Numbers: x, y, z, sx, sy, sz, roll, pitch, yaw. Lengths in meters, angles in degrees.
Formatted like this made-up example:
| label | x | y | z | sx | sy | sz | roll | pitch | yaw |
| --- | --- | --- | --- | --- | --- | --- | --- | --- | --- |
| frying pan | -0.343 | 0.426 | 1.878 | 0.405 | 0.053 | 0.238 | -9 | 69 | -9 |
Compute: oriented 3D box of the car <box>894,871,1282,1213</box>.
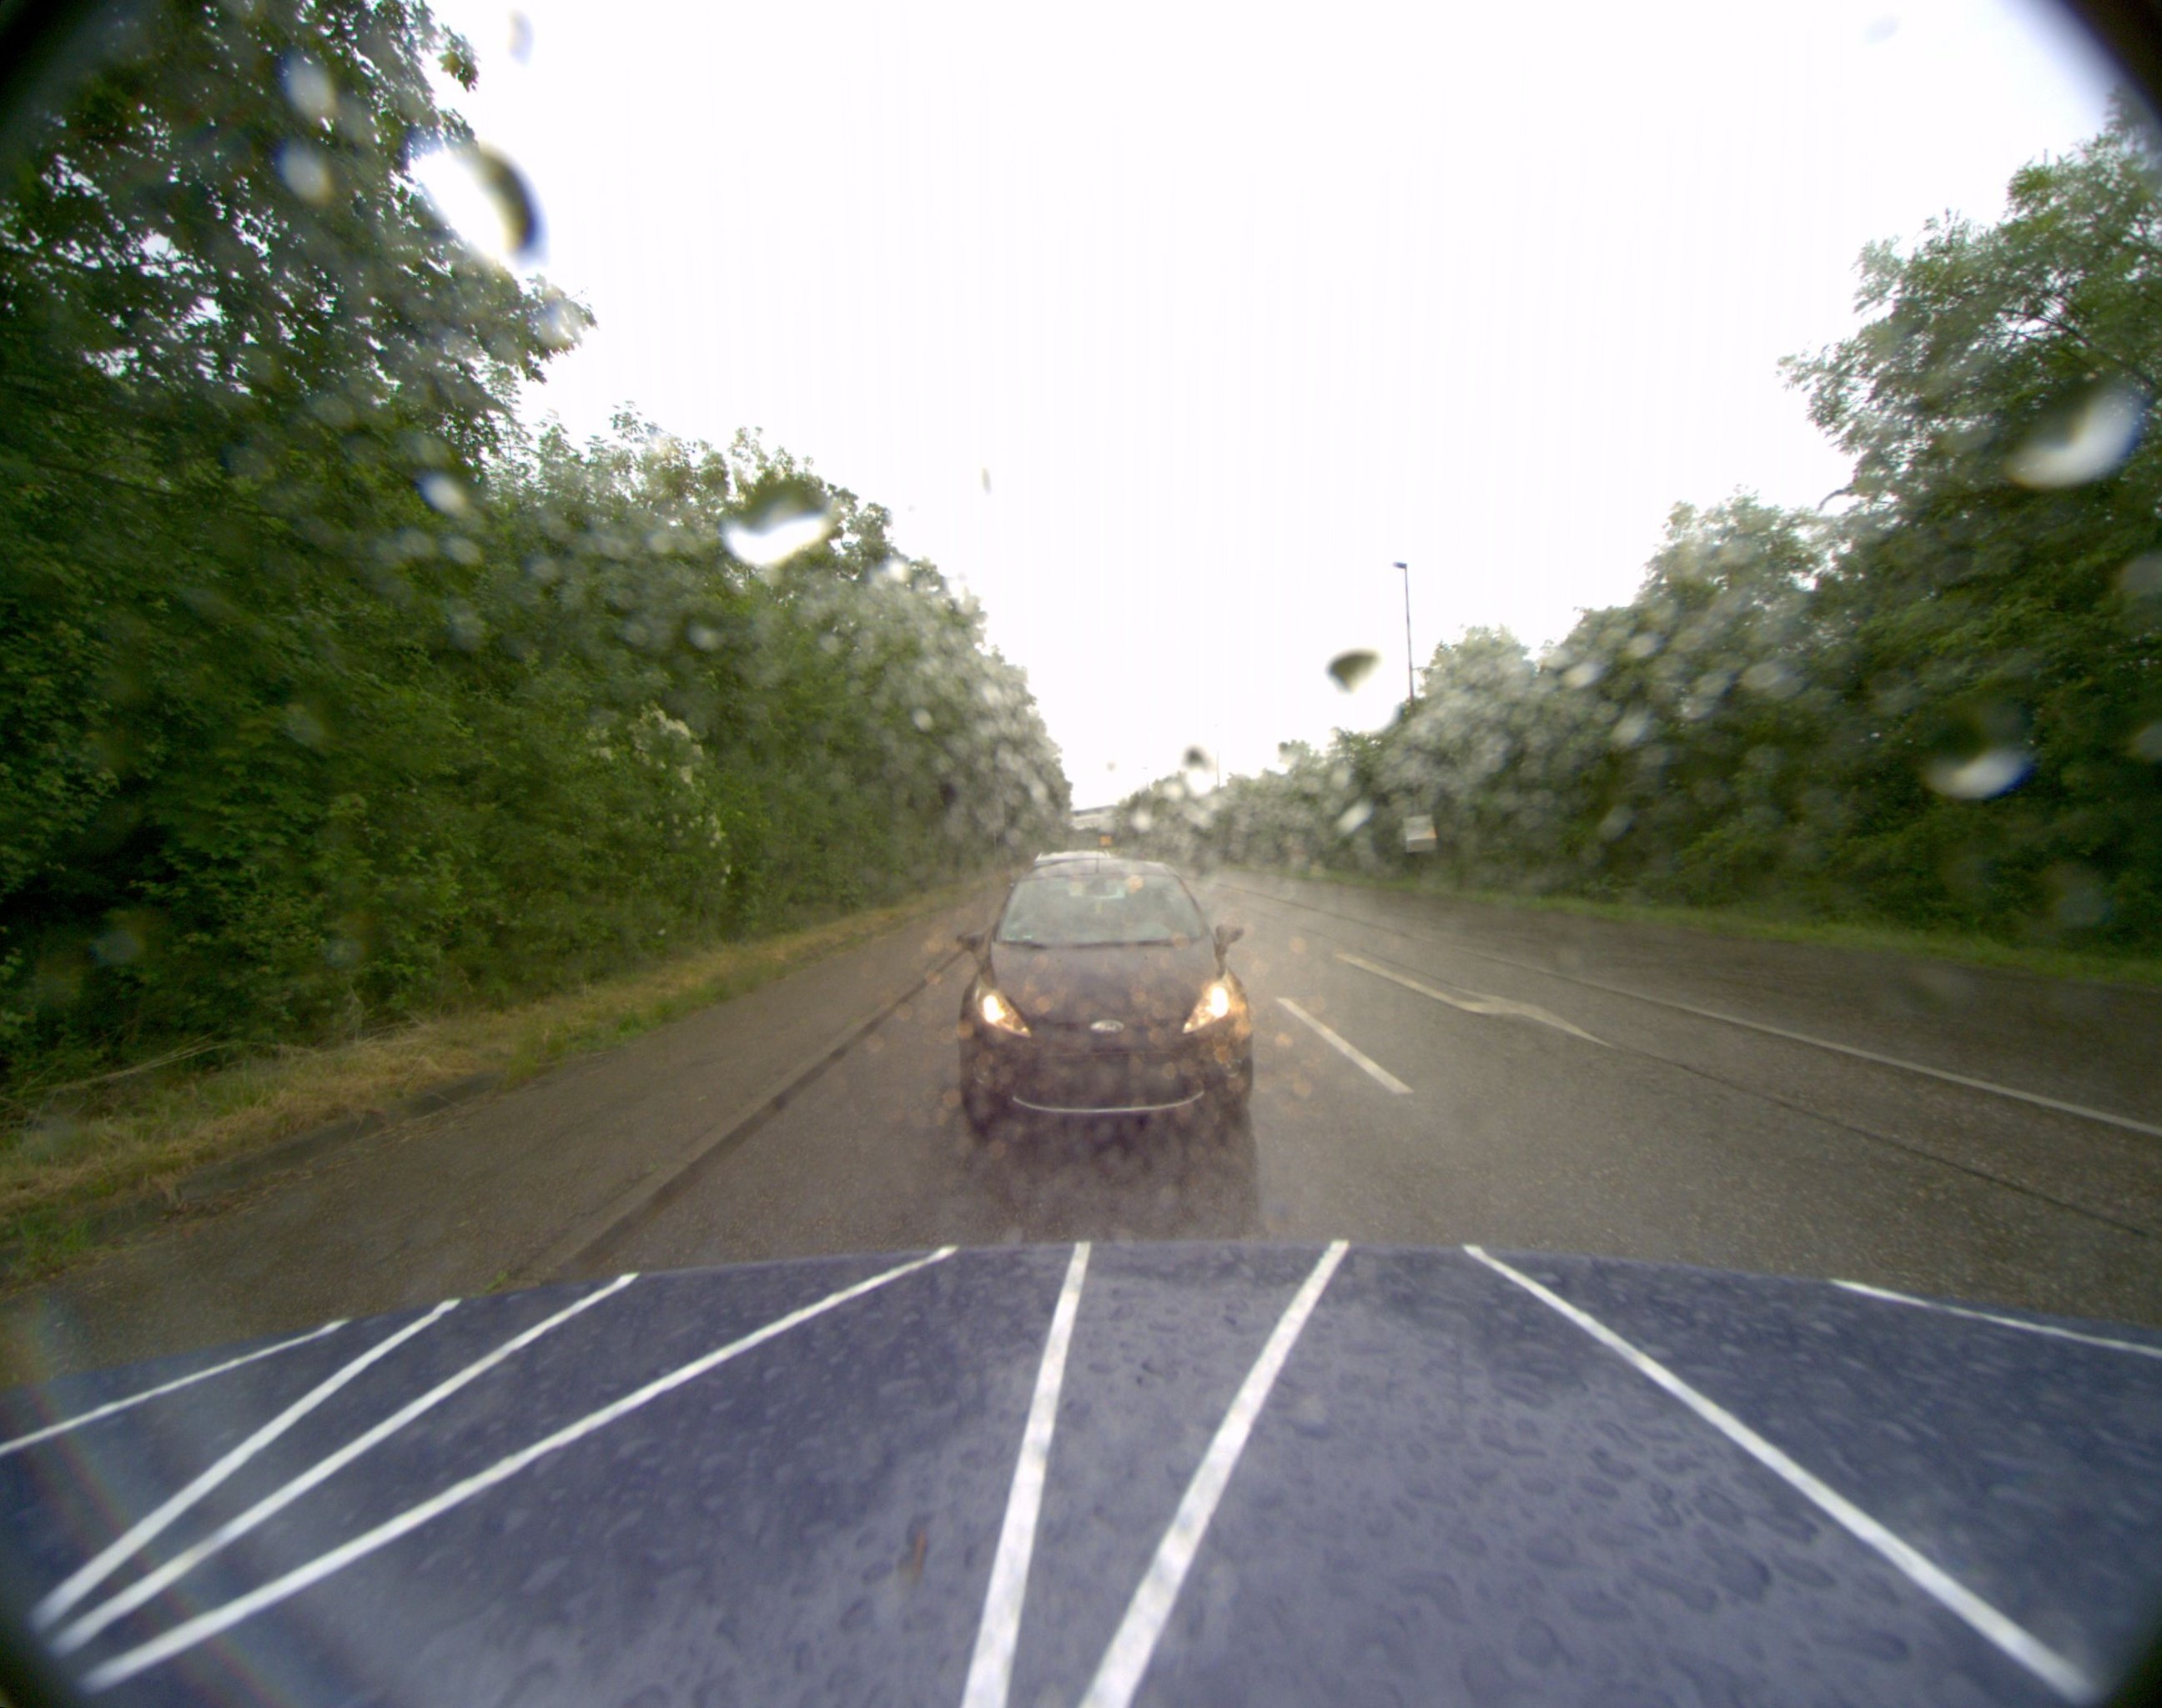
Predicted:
| label | x | y | z | sx | sy | sz | roll | pitch | yaw |
| --- | --- | --- | --- | --- | --- | --- | --- | --- | --- |
| car | 0.062 | 0.969 | 5.851 | 1.839 | 1.404 | 4.341 | -2 | 1 | 1 |

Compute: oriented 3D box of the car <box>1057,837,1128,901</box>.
| label | x | y | z | sx | sy | sz | roll | pitch | yaw |
| --- | --- | --- | --- | --- | --- | --- | --- | --- | --- |
| car | 0.349 | 0.422 | 23.960 | 1.998 | 1.778 | 4.000 | -2 | 0 | 0 |

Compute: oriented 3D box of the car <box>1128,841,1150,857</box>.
| label | x | y | z | sx | sy | sz | roll | pitch | yaw |
| --- | --- | --- | --- | --- | --- | --- | --- | --- | --- |
| car | 5.977 | -0.553 | 78.297 | 1.998 | 1.576 | 3.999 | -2 | 2 | 1 |

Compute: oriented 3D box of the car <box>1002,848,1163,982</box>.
| label | x | y | z | sx | sy | sz | roll | pitch | yaw |
| --- | --- | --- | --- | --- | --- | --- | --- | --- | --- |
| car | 0.039 | 0.761 | 11.654 | 1.998 | 1.576 | 3.999 | -2 | 2 | 1 |
